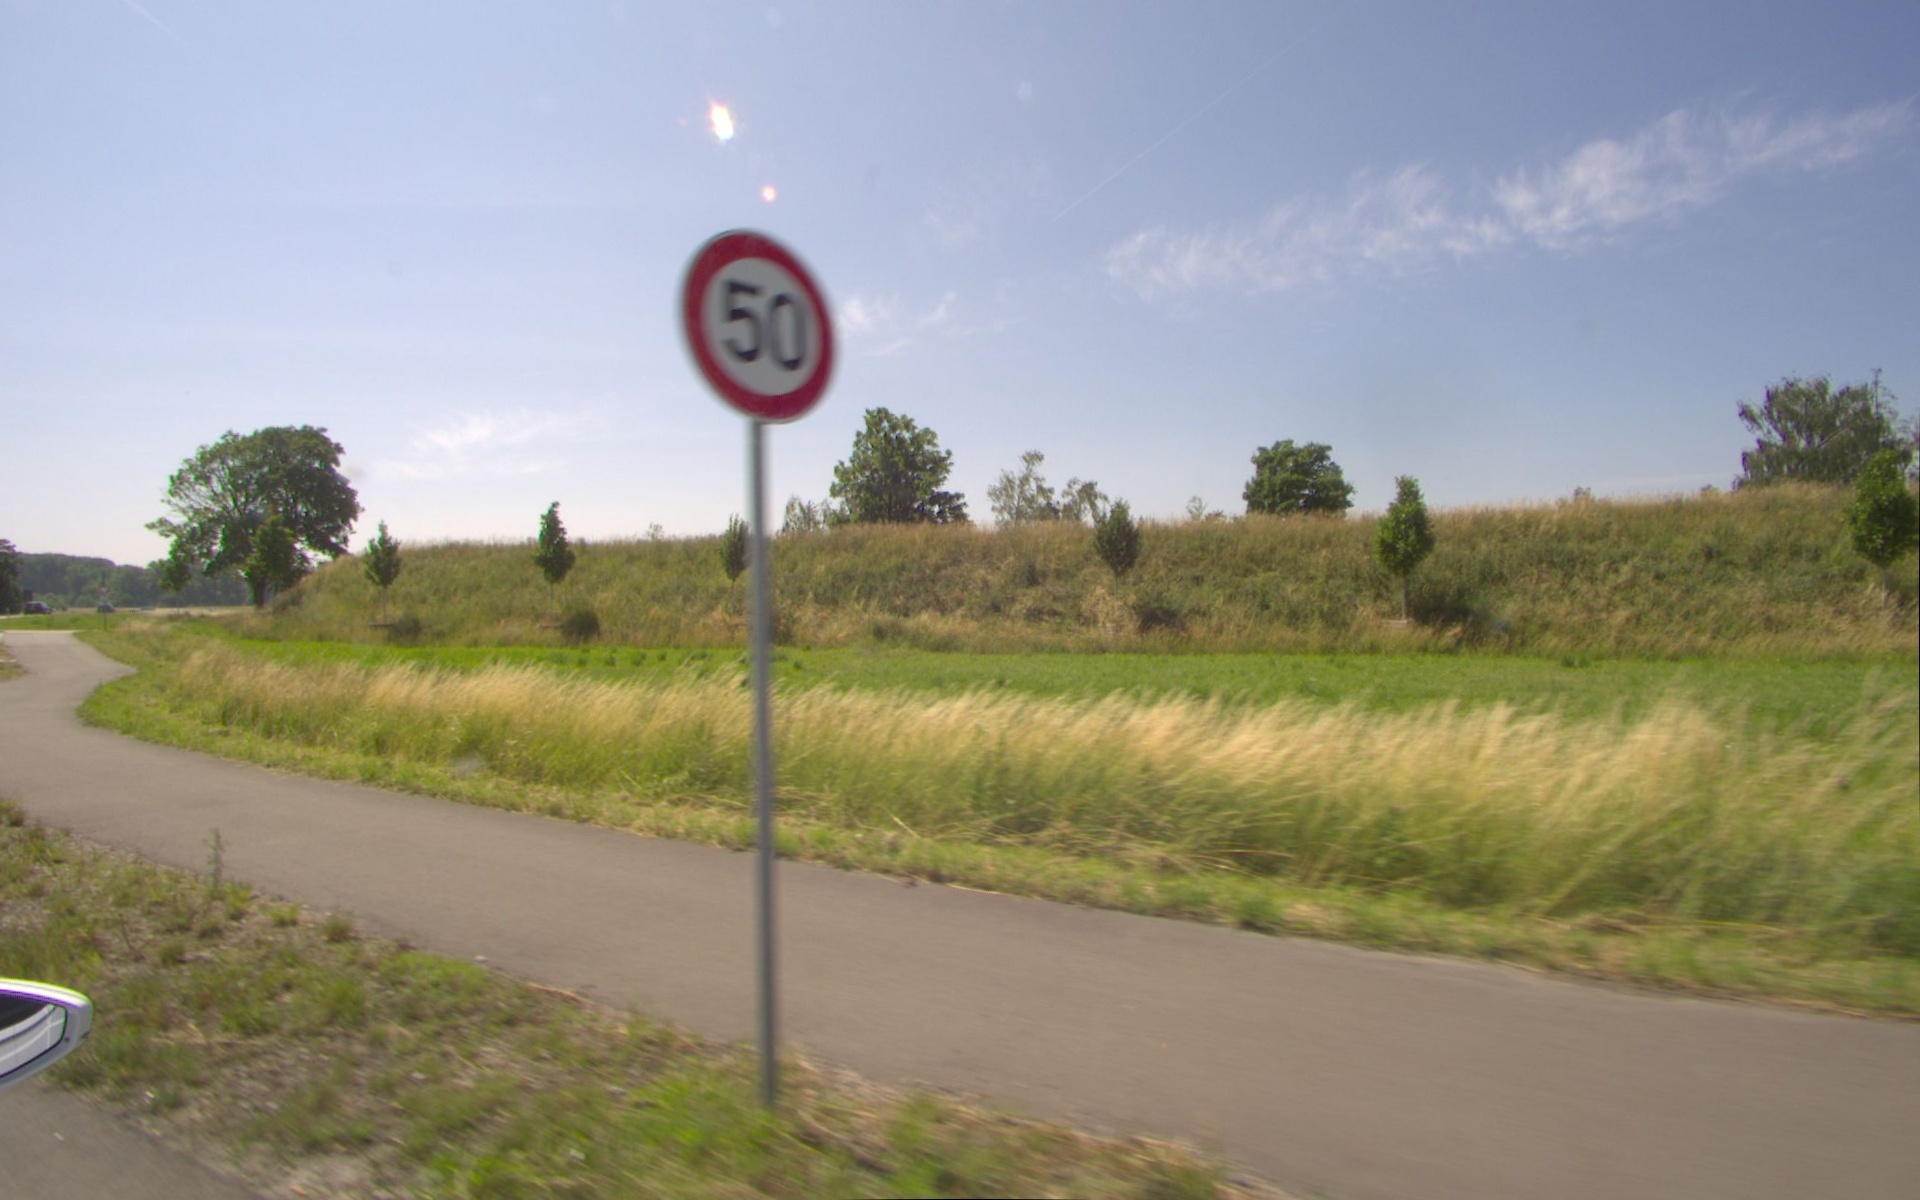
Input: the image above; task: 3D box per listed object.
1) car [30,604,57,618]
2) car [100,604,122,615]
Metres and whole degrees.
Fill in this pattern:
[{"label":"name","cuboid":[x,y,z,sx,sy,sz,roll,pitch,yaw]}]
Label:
[{"label":"car","cuboid":[-103.614,1.221,113.226,1.783,1.496,4.383,-2,0,-37]},{"label":"car","cuboid":[-127.163,1.422,150.068,1.780,1.543,3.860,-5,3,-31]}]
